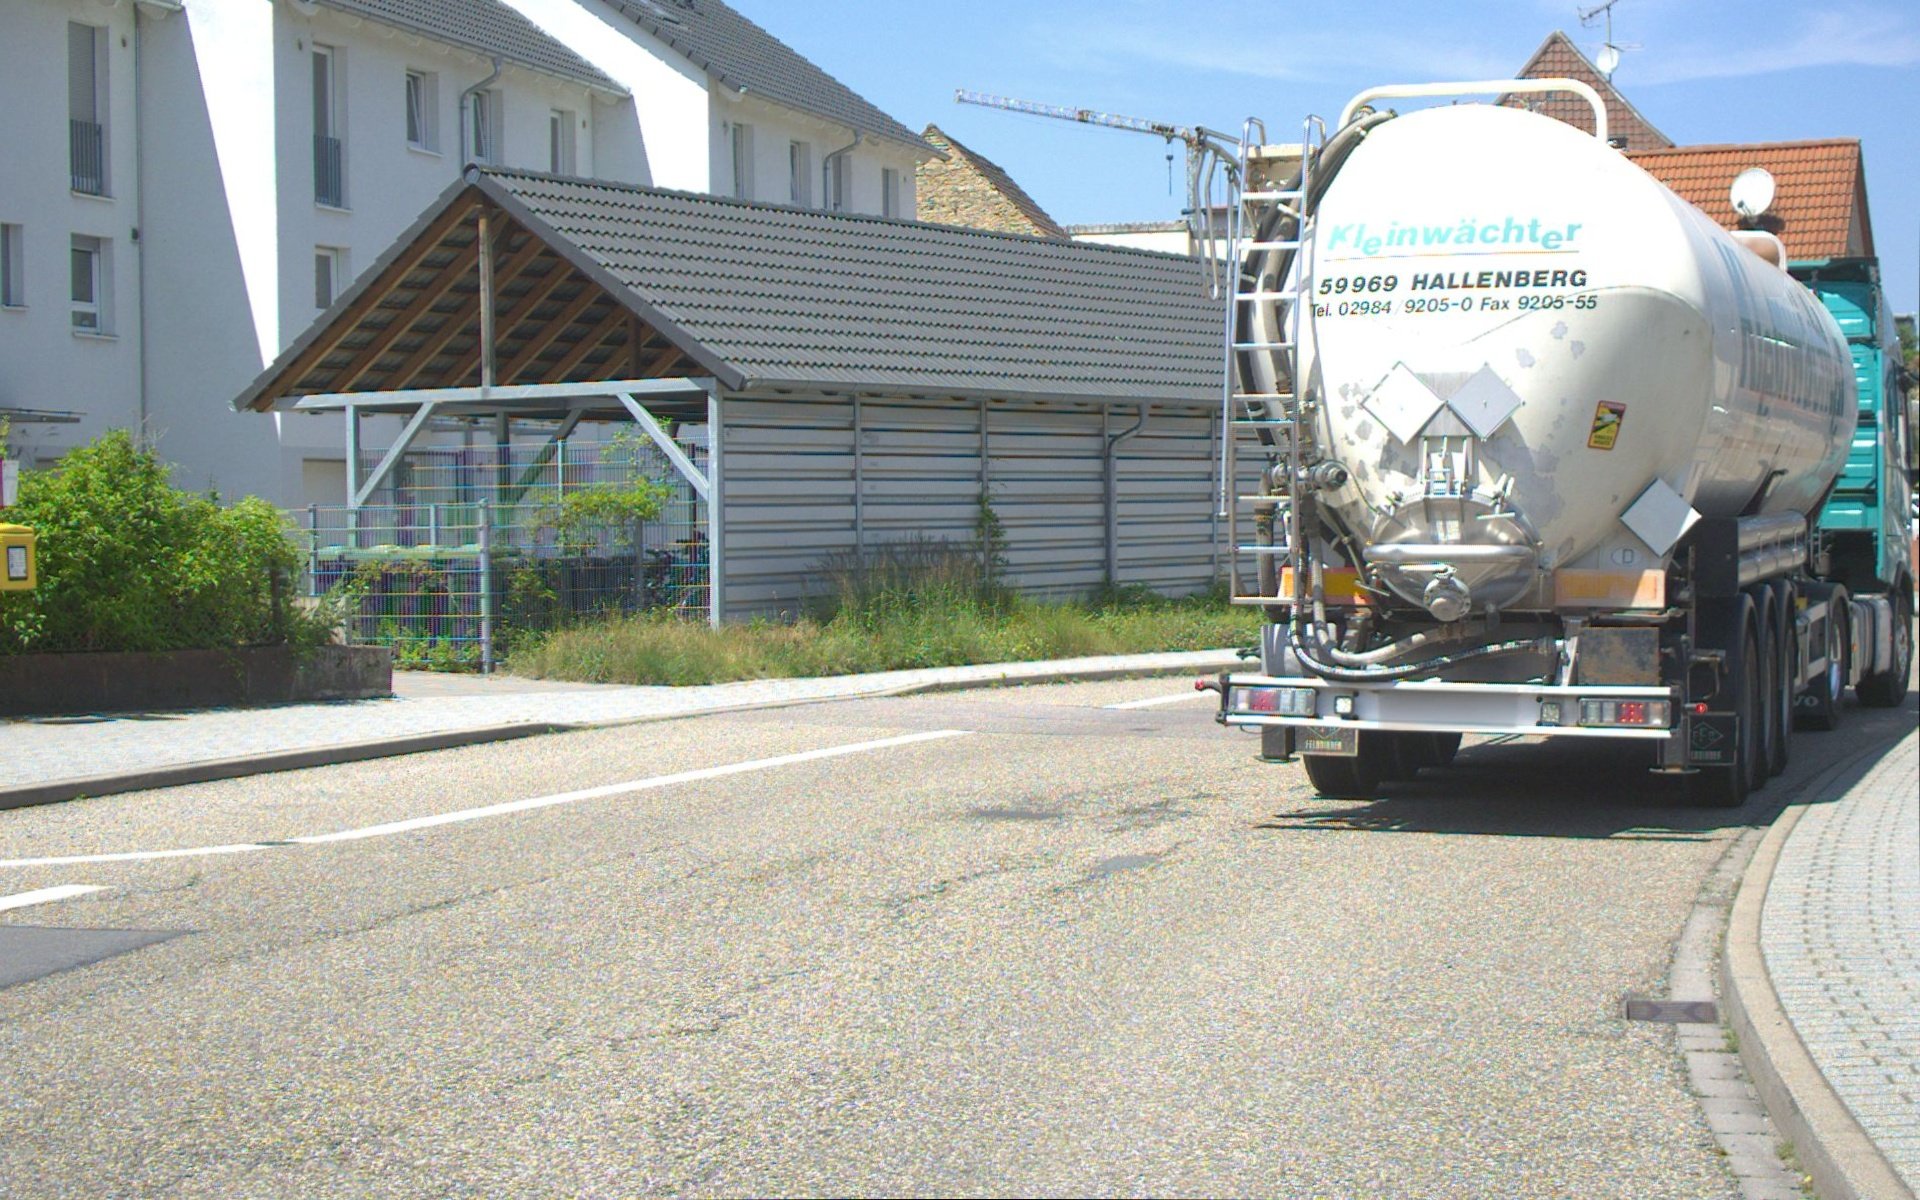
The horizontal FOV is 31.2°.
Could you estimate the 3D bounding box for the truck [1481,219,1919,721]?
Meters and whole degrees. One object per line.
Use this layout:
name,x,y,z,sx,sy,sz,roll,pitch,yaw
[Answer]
truck,6.826,-1.081,30.261,2.991,3.951,5.571,0,1,25

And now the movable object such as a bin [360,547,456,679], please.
movable object such as a bin,-5.415,0.121,33.738,0.641,1.274,0.693,1,1,29

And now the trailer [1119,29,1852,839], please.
trailer,4.013,-0.913,22.697,2.955,3.934,11.609,0,1,18

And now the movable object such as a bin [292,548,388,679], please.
movable object such as a bin,-6.144,0.122,34.089,0.641,1.274,0.693,1,1,29

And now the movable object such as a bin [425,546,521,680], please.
movable object such as a bin,-4.723,0.120,33.354,0.641,1.274,0.693,1,1,29

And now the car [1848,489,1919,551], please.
car,28.411,-2.343,100.465,1.874,1.779,4.520,-3,3,-39
